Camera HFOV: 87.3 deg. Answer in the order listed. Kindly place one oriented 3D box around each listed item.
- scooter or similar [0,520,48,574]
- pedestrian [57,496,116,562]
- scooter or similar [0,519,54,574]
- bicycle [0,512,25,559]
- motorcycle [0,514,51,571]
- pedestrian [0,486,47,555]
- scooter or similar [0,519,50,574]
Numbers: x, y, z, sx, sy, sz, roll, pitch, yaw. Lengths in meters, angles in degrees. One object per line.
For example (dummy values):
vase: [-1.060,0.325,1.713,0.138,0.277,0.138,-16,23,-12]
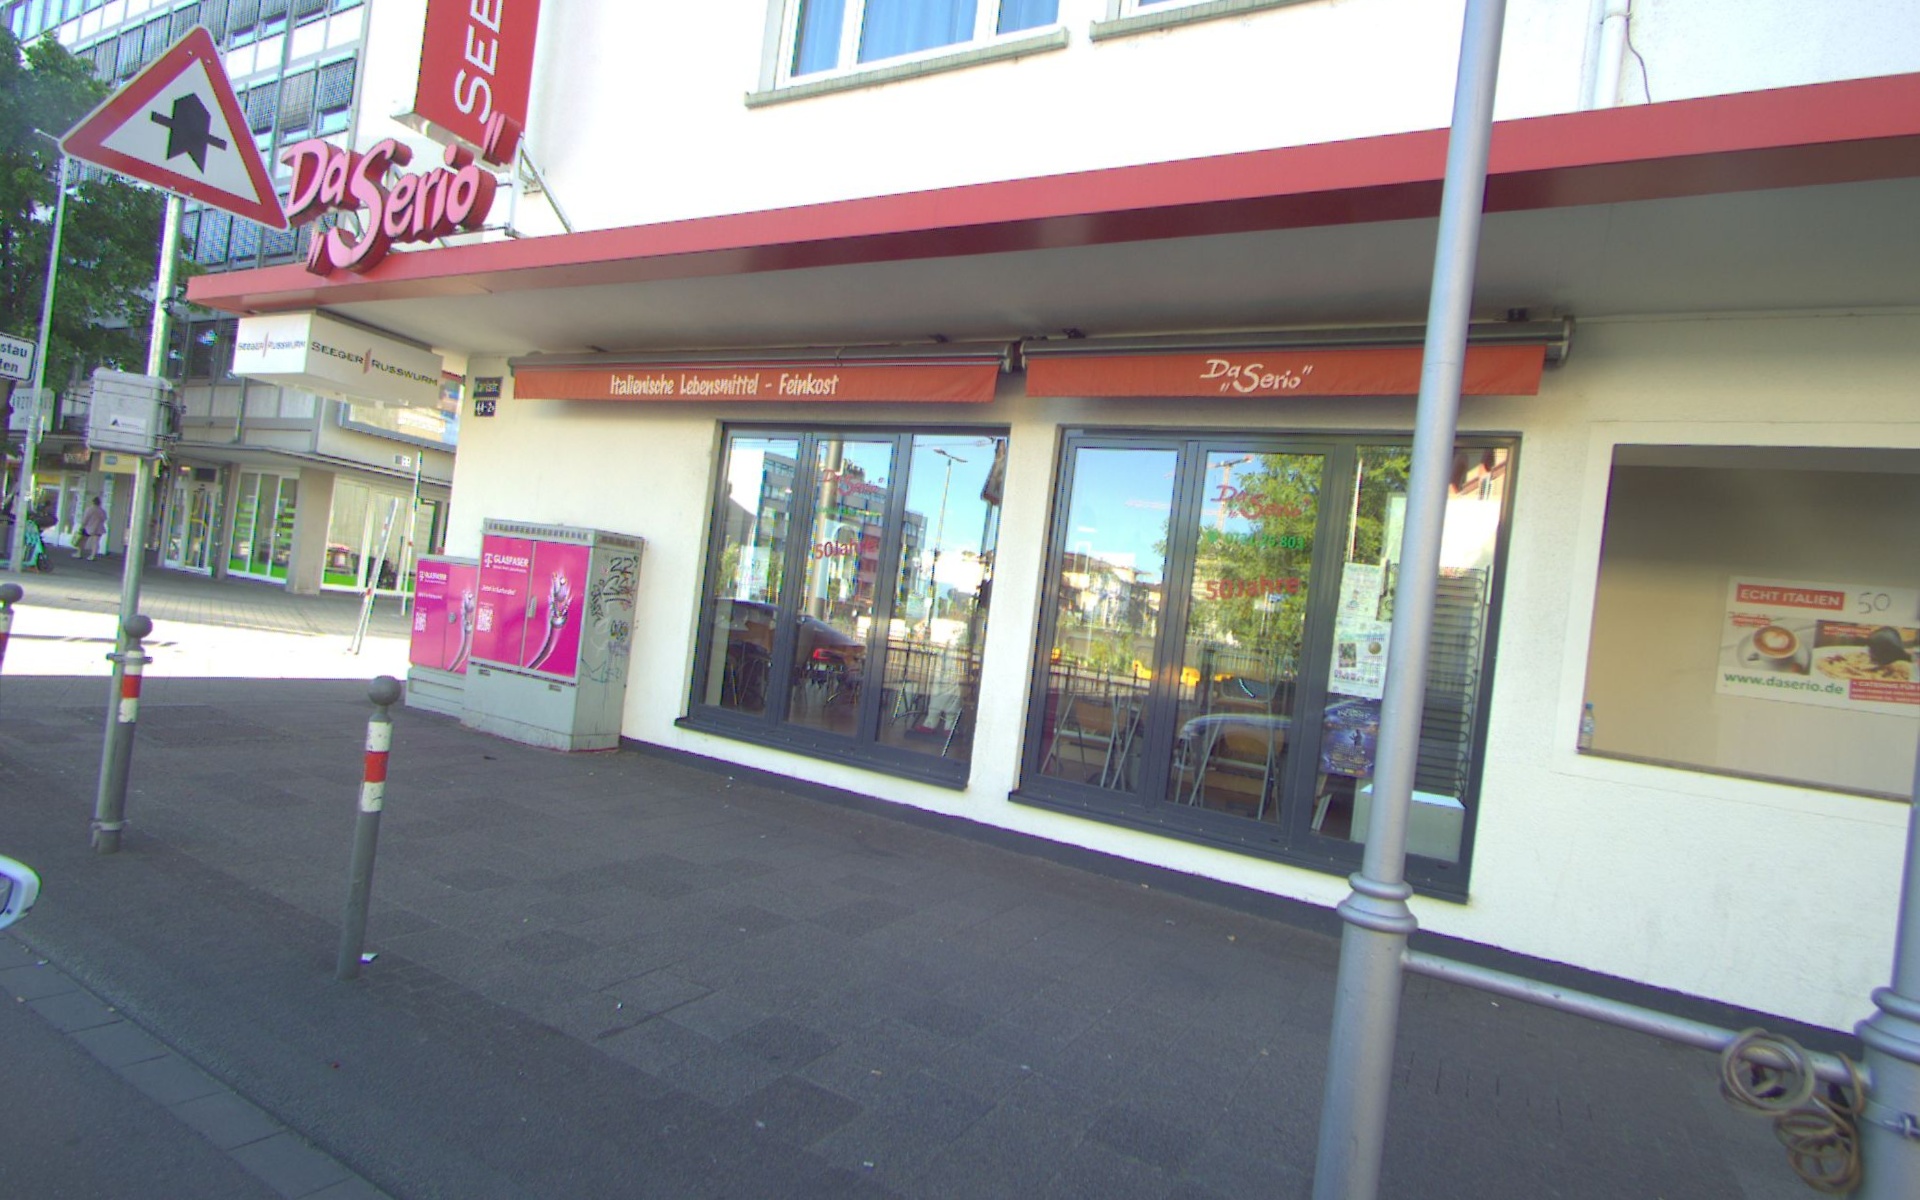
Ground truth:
scooter or similar: [-20.040,-1.134,21.307,0.157,1.039,0.964,7,-1,34]
pedestrian: [-23.793,-1.928,27.419,0.865,1.621,0.844,6,-1,31]
scooter or similar: [-19.714,-1.122,21.086,0.157,1.056,0.964,7,-1,34]
bicycle: [-23.228,-1.589,23.581,0.392,1.069,1.856,7,0,21]
motorcycle: [-21.522,-1.351,22.352,0.495,1.142,1.791,7,-2,29]
pedestrian: [-25.647,-2.157,27.346,0.865,1.727,0.844,6,-1,31]
scooter or similar: [-19.876,-1.127,21.196,0.157,1.051,0.957,7,-1,34]
